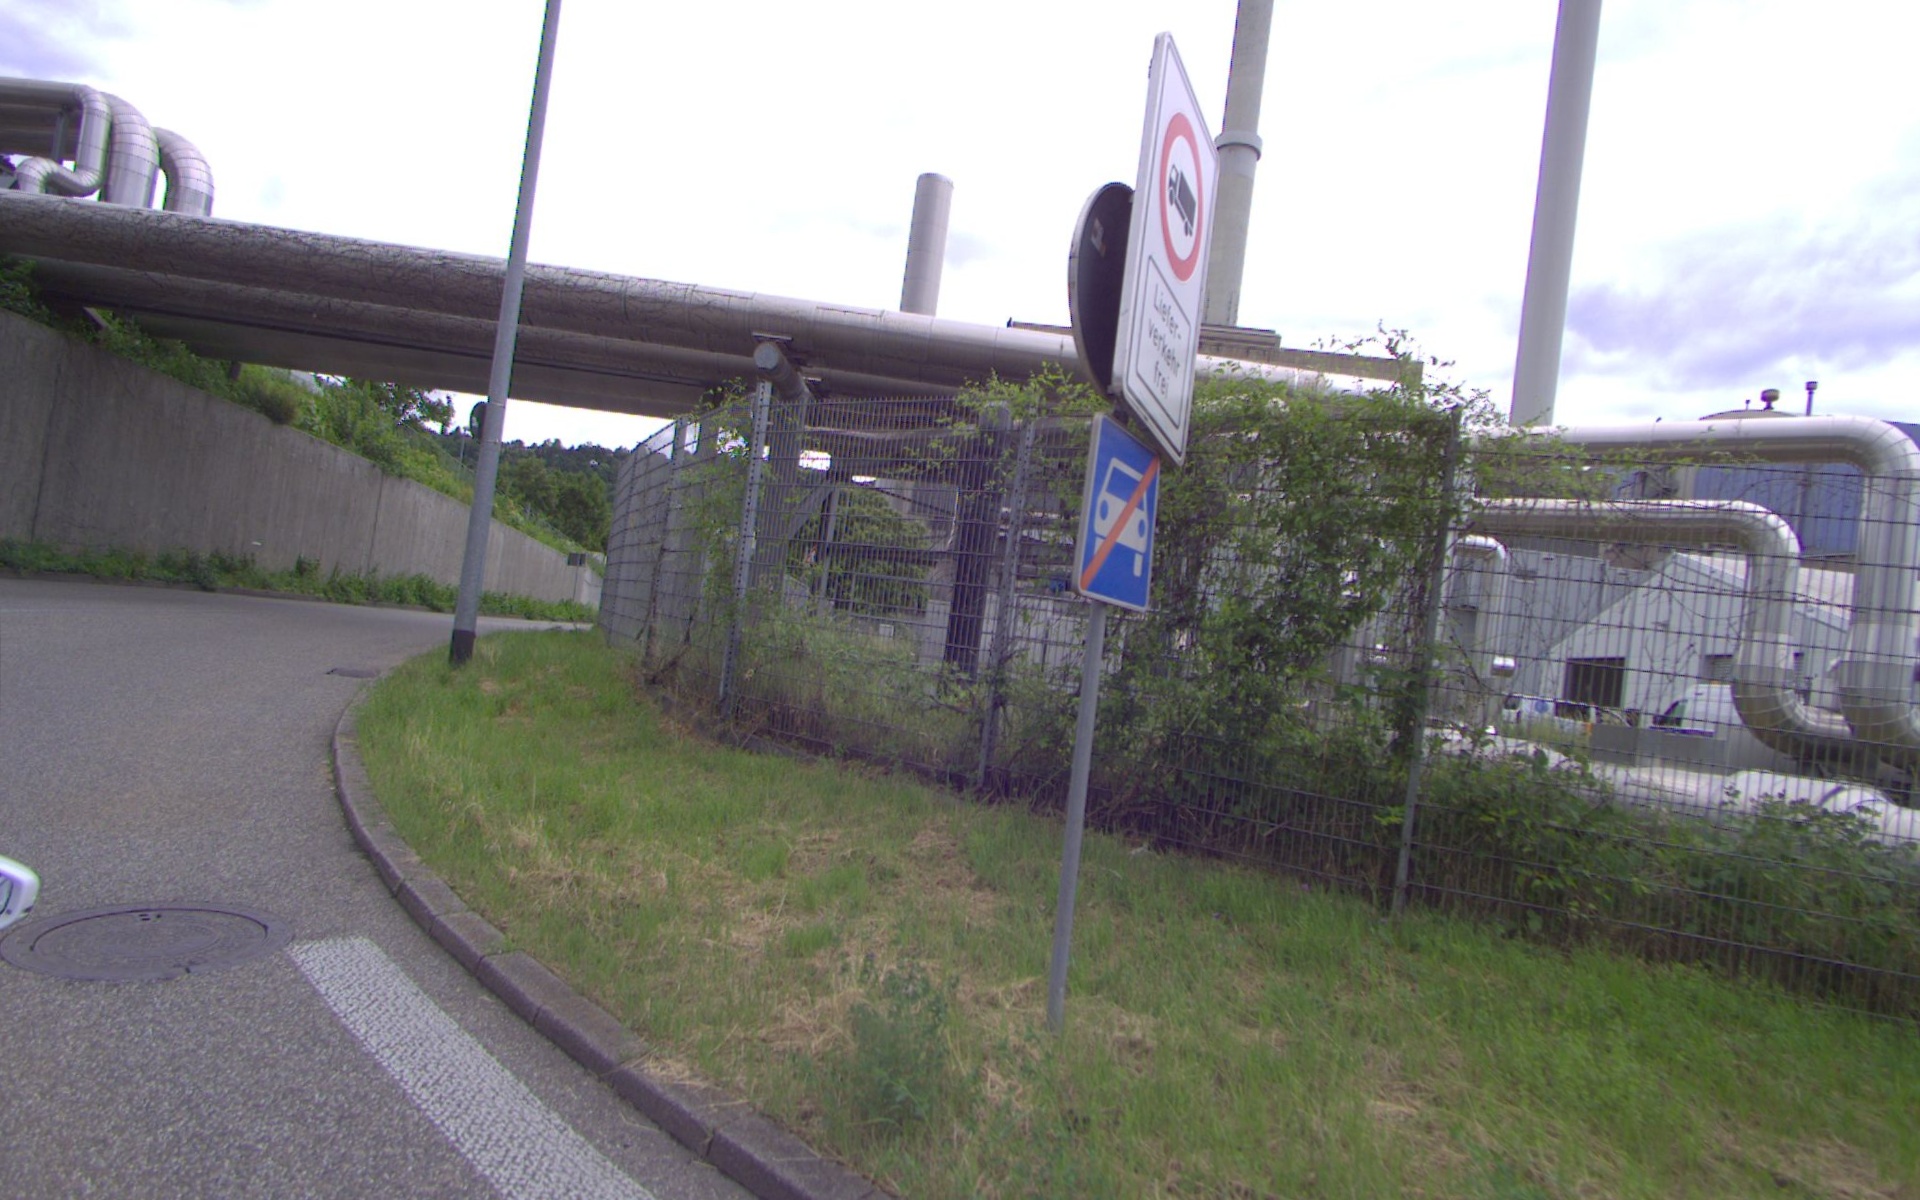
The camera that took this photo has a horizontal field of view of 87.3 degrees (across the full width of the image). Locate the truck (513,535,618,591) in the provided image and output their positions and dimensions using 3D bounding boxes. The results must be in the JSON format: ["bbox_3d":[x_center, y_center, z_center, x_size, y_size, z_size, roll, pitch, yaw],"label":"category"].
[{"bbox_3d":[-34.877,-3.222,89.122,7.812,3.575,3.023,11,-5,-38],"label":"truck"}]

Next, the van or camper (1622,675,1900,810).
[{"bbox_3d":[19.713,3.363,25.311,2.527,2.577,6.136,7,-2,9],"label":"van or camper"}]

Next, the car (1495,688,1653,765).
[{"bbox_3d":[22.109,4.528,36.370,4.259,2.036,2.002,8,-2,3],"label":"car"}]

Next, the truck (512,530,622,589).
[{"bbox_3d":[-33.216,-3.295,85.151,7.803,3.575,3.026,11,-5,-35],"label":"truck"}]

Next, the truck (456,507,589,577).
[{"bbox_3d":[-32.009,-4.136,73.862,8.104,3.574,3.020,11,-5,-40],"label":"truck"}]
